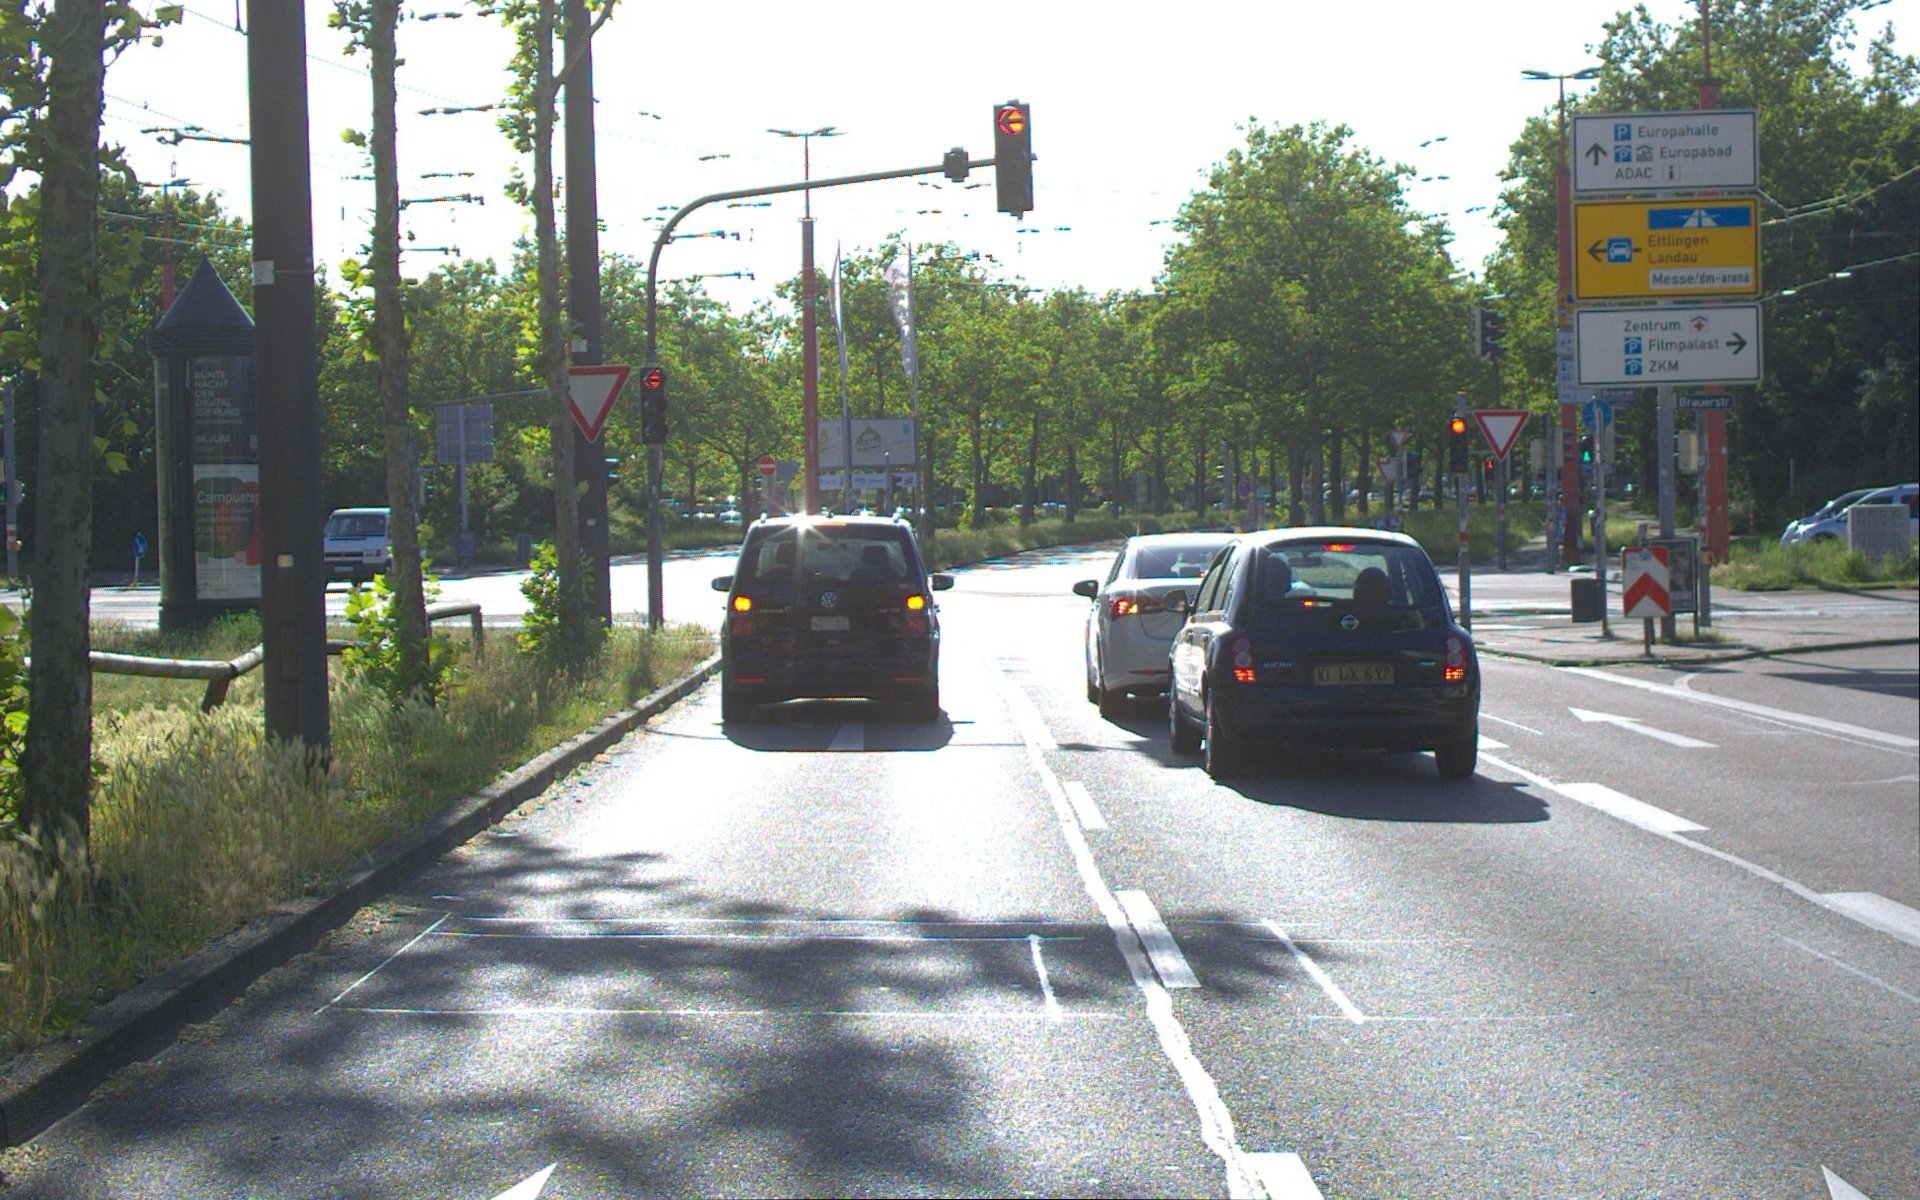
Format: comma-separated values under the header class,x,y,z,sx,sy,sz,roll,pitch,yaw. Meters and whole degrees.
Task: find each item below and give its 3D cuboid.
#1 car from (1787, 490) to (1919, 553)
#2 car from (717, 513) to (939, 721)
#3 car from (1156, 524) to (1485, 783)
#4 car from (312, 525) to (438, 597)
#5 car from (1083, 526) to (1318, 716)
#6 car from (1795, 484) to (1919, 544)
class,x,y,z,sx,sy,sz,roll,pitch,yaw
car,21.660,-1.840,80.936,3.992,1.471,1.787,1,1,25
car,-1.068,0.100,28.111,1.710,1.598,3.350,0,1,-2
car,2.235,0.281,22.111,1.638,1.489,3.504,0,2,-2
car,-14.694,-0.994,86.565,1.823,1.774,4.566,0,1,8
car,1.938,0.127,28.697,1.678,1.470,4.131,0,1,0
car,21.065,-1.934,77.712,3.992,1.333,1.727,1,1,25
